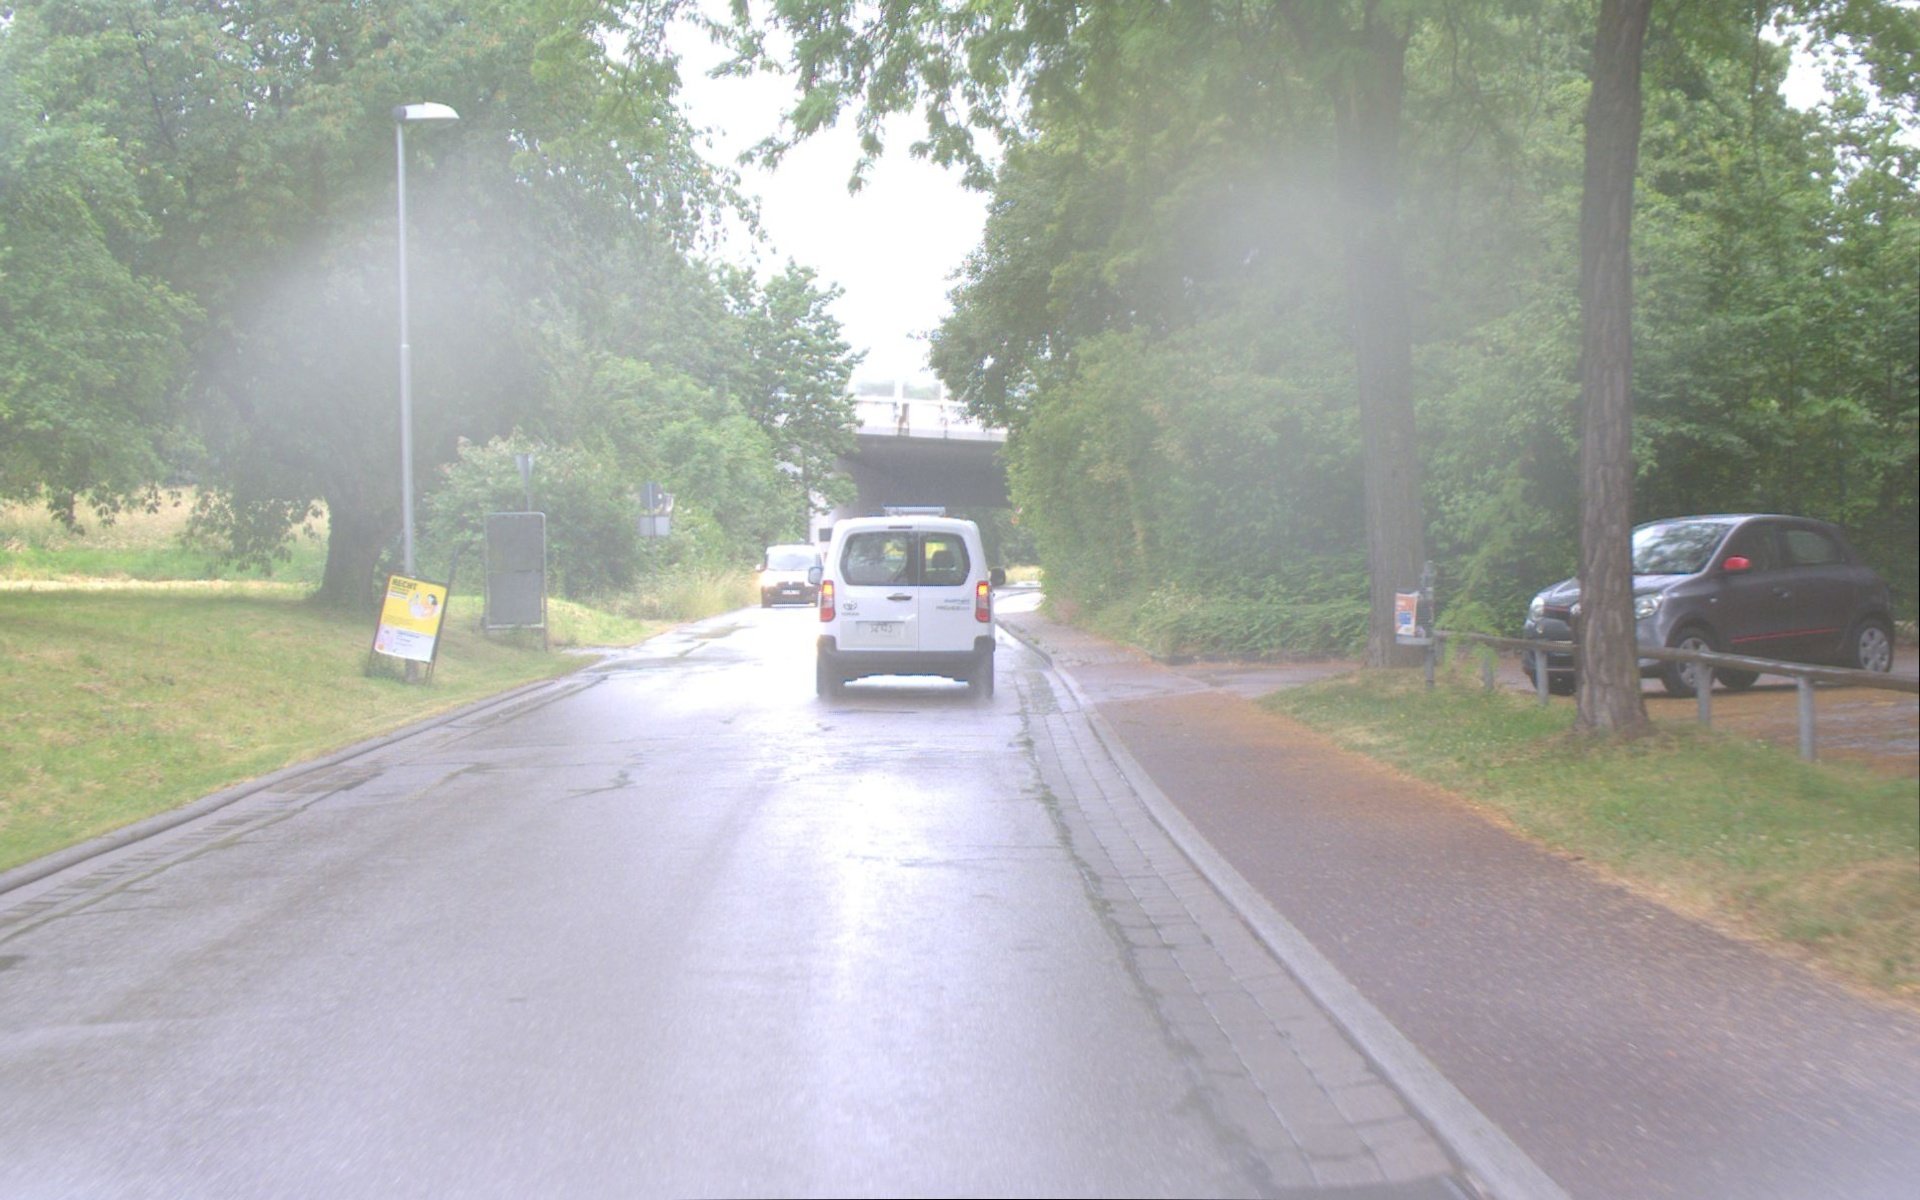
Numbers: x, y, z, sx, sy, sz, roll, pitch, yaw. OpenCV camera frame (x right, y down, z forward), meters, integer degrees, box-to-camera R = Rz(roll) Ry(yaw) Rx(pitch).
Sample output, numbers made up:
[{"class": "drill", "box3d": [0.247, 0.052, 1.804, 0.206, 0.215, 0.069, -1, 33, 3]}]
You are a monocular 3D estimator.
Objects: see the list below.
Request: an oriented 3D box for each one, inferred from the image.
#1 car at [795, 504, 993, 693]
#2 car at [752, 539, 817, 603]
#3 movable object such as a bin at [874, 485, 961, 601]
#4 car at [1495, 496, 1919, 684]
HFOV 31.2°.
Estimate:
[{"class": "car", "box3d": [-0.641, -0.064, 35.660, 1.896, 1.800, 4.000, -1, 1, 0]}, {"class": "car", "box3d": [-5.100, -0.846, 100.121, 1.823, 1.825, 4.307, 0, 1, -2]}, {"class": "movable object such as a bin", "box3d": [-0.932, -1.283, 77.895, 1.761, 2.539, 4.239, 0, 0, 2]}, {"class": "car", "box3d": [6.551, -0.104, 30.030, 3.602, 1.546, 1.621, -1, 0, -36]}]
